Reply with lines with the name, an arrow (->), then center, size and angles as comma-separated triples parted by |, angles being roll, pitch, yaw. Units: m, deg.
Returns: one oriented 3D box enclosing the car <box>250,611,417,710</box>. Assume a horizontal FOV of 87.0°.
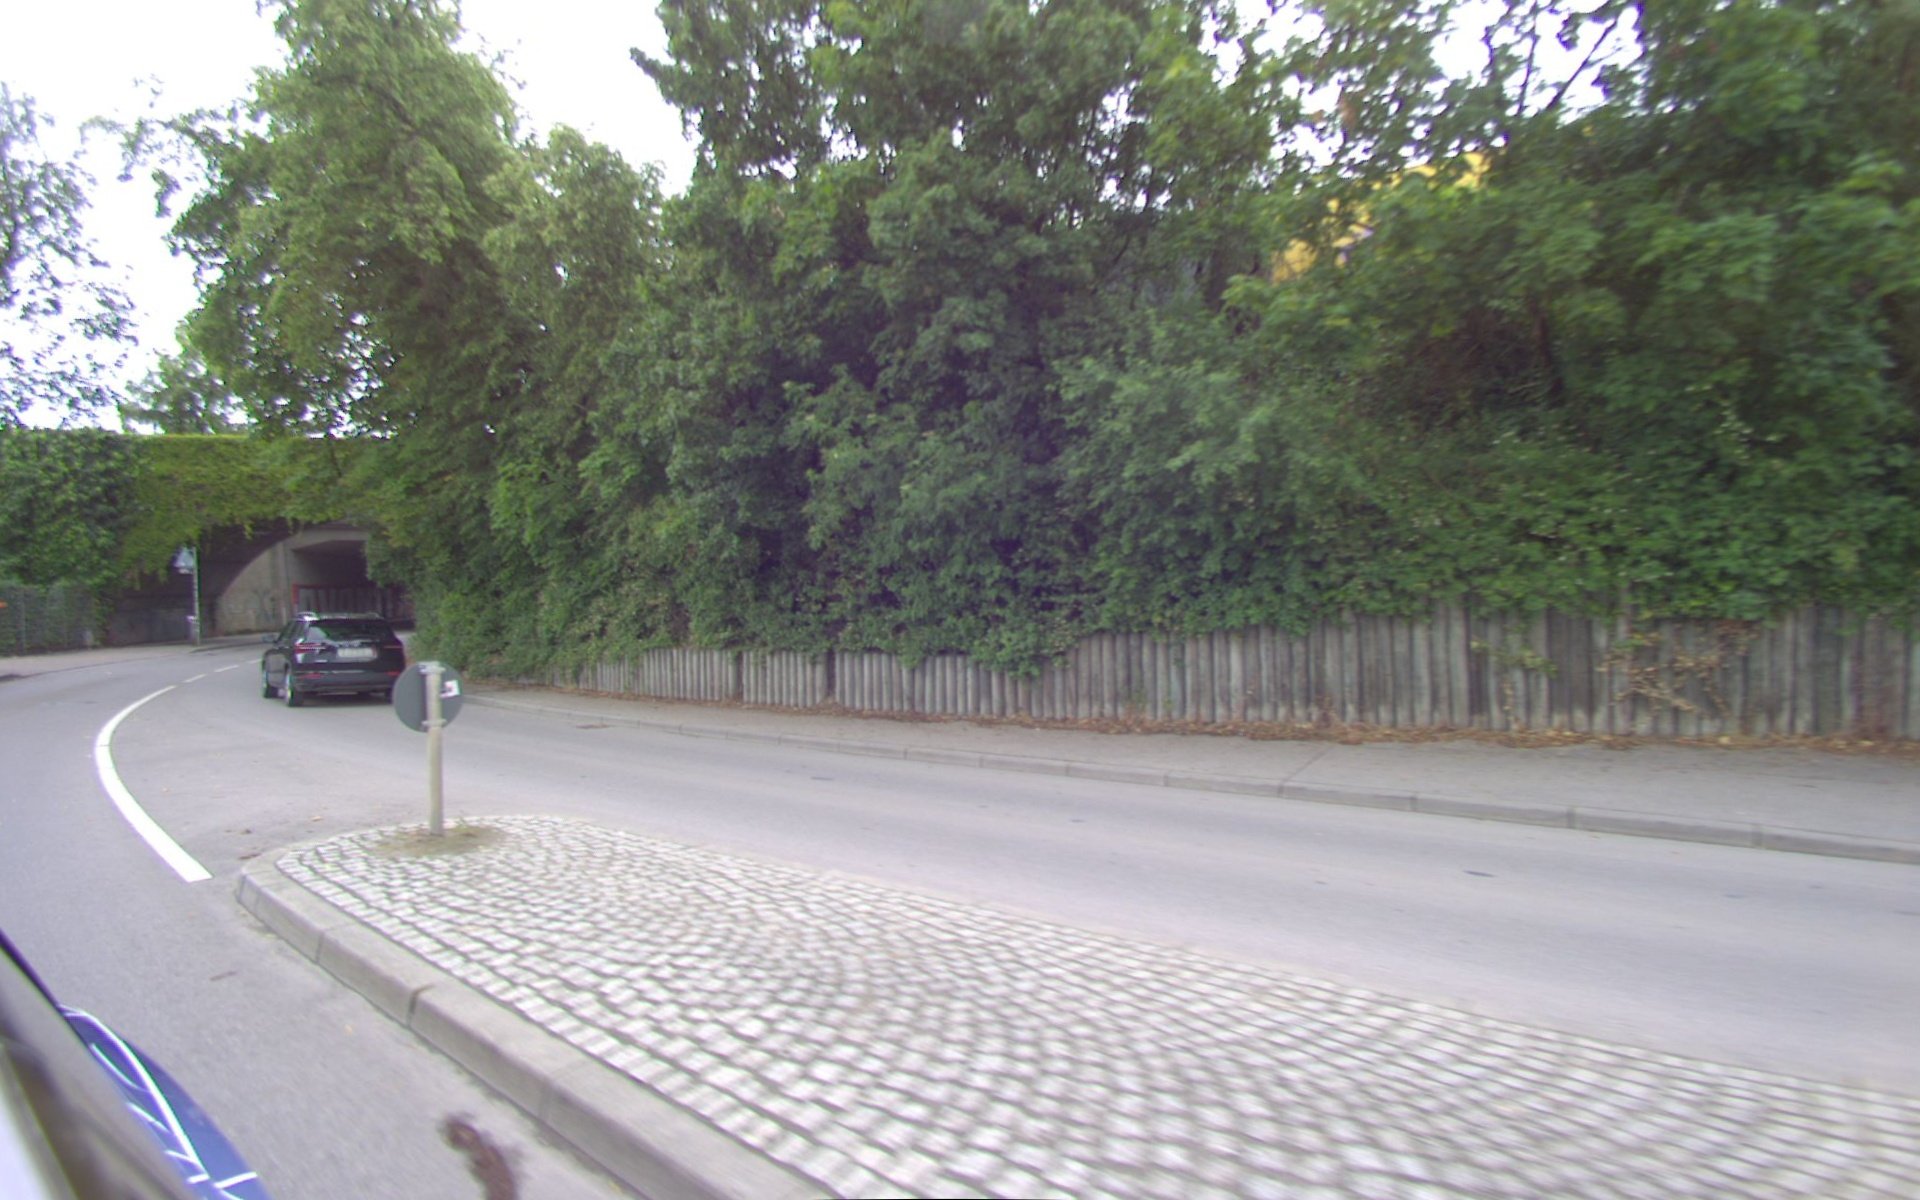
car -> -11.629, 1.059, 18.663 | 1.781, 1.622, 4.180 | 2, -3, -43
